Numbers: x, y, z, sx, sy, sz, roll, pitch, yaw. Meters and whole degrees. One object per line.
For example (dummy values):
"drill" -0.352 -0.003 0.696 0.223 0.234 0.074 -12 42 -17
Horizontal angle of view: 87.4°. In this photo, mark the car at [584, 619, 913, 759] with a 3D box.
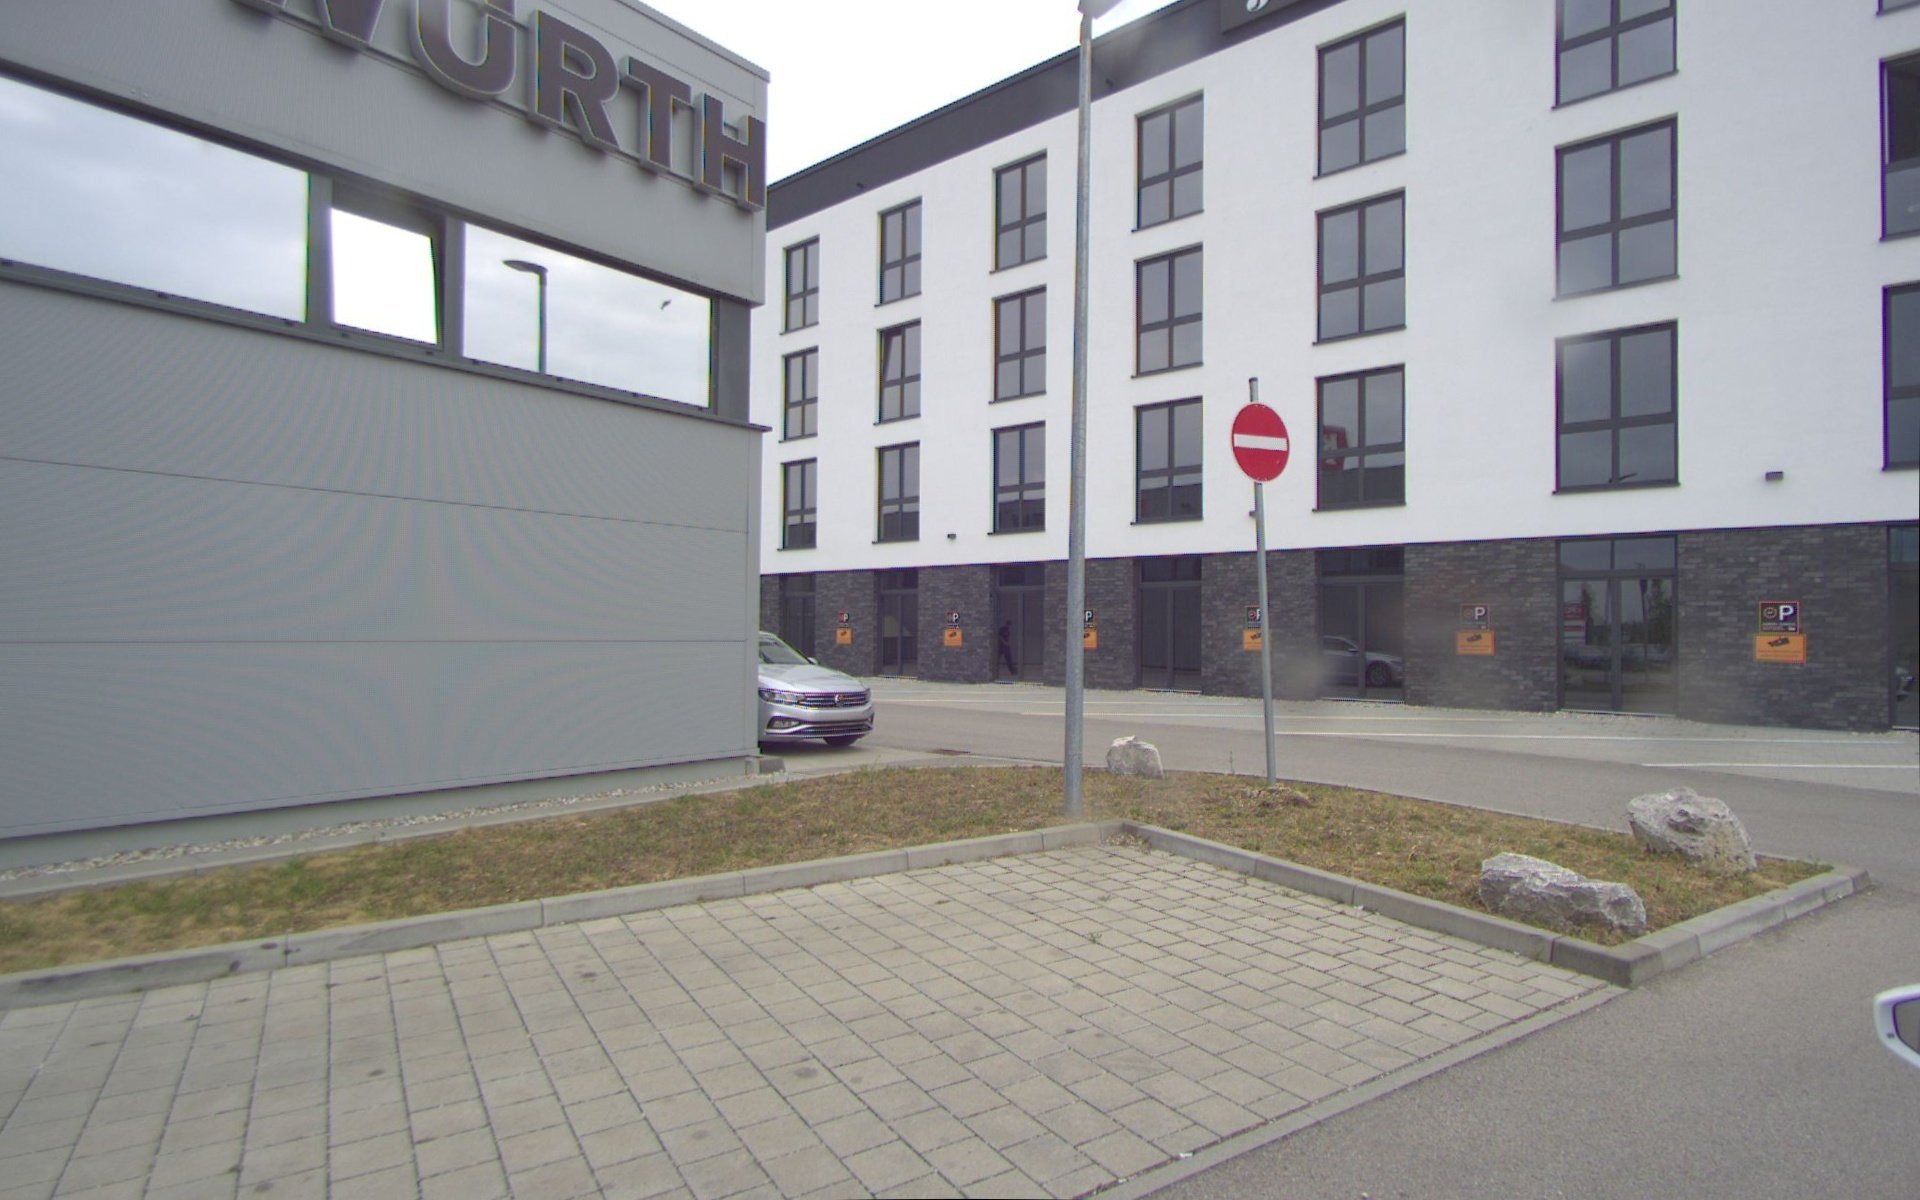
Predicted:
"car" -2.936 1.043 13.195 1.969 1.511 4.707 4 -4 -45
